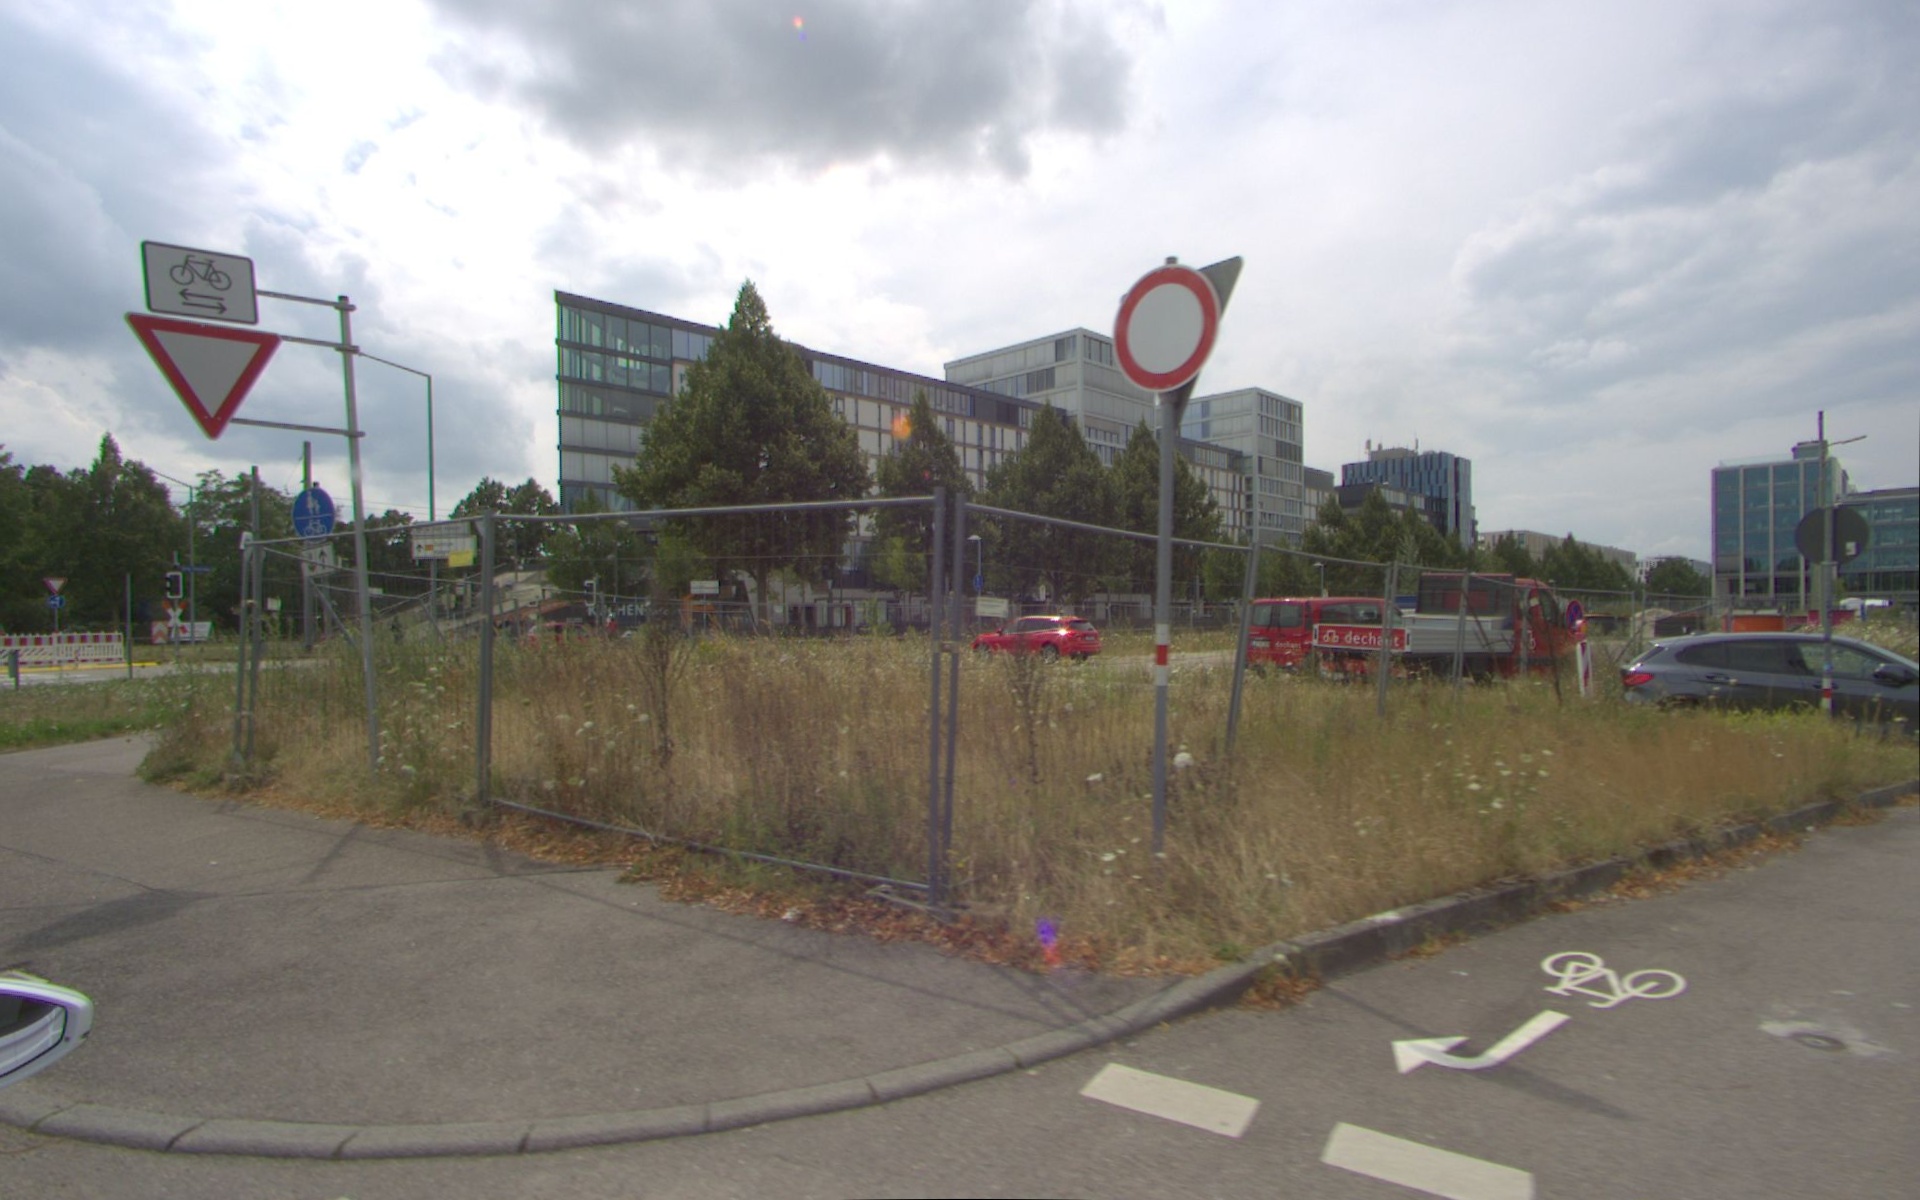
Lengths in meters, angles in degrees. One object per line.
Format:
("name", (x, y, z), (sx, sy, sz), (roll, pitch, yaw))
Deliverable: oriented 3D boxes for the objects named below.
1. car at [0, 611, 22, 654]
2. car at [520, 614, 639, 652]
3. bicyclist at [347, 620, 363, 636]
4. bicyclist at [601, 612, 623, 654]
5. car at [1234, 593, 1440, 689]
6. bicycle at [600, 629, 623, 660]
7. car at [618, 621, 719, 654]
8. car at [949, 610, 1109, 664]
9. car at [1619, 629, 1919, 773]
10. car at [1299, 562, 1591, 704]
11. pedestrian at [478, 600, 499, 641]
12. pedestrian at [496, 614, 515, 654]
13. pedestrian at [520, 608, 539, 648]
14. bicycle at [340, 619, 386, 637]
("car", (-41.325, 1.421, 41.957), (3.943, 1.772, 1.990), (-3, -2, 31))
("car", (-17.149, 1.468, 45.321), (1.977, 1.639, 4.715), (-1, -1, 40))
("bicyclist", (-34.537, 1.614, 57.166), (0.647, 0.895, 0.606), (0, -2, -19))
("bicyclist", (-13.849, 1.311, 39.851), (0.777, 1.648, 1.047), (-1, 0, -17))
("car", (8.625, 0.856, 22.753), (4.924, 1.936, 1.923), (1, 1, -35))
("bicycle", (-13.819, 1.757, 39.781), (0.777, 1.183, 2.038), (0, -1, -17))
("car", (-13.162, 1.679, 45.291), (1.979, 1.392, 3.963), (-1, -1, 44))
("car", (2.153, 1.160, 32.263), (5.076, 1.624, 1.777), (-1, -1, 38))
("car", (10.221, 1.096, 11.587), (4.207, 1.492, 1.755), (-1, -1, 38))
("car", (9.793, 0.613, 19.970), (6.456, 2.443, 2.304), (0, -1, -34))
("pedestrian", (-21.200, 0.918, 45.051), (0.546, 1.805, 0.685), (0, 0, 39))
("pedestrian", (-20.724, 1.557, 45.649), (0.546, 1.805, 0.629), (0, 0, 39))
("pedestrian", (-19.701, 1.262, 45.826), (0.546, 1.805, 0.576), (0, 0, 39))
("bicycle", (-34.171, 1.600, 57.301), (2.166, 0.950, 0.613), (0, -2, -19))
